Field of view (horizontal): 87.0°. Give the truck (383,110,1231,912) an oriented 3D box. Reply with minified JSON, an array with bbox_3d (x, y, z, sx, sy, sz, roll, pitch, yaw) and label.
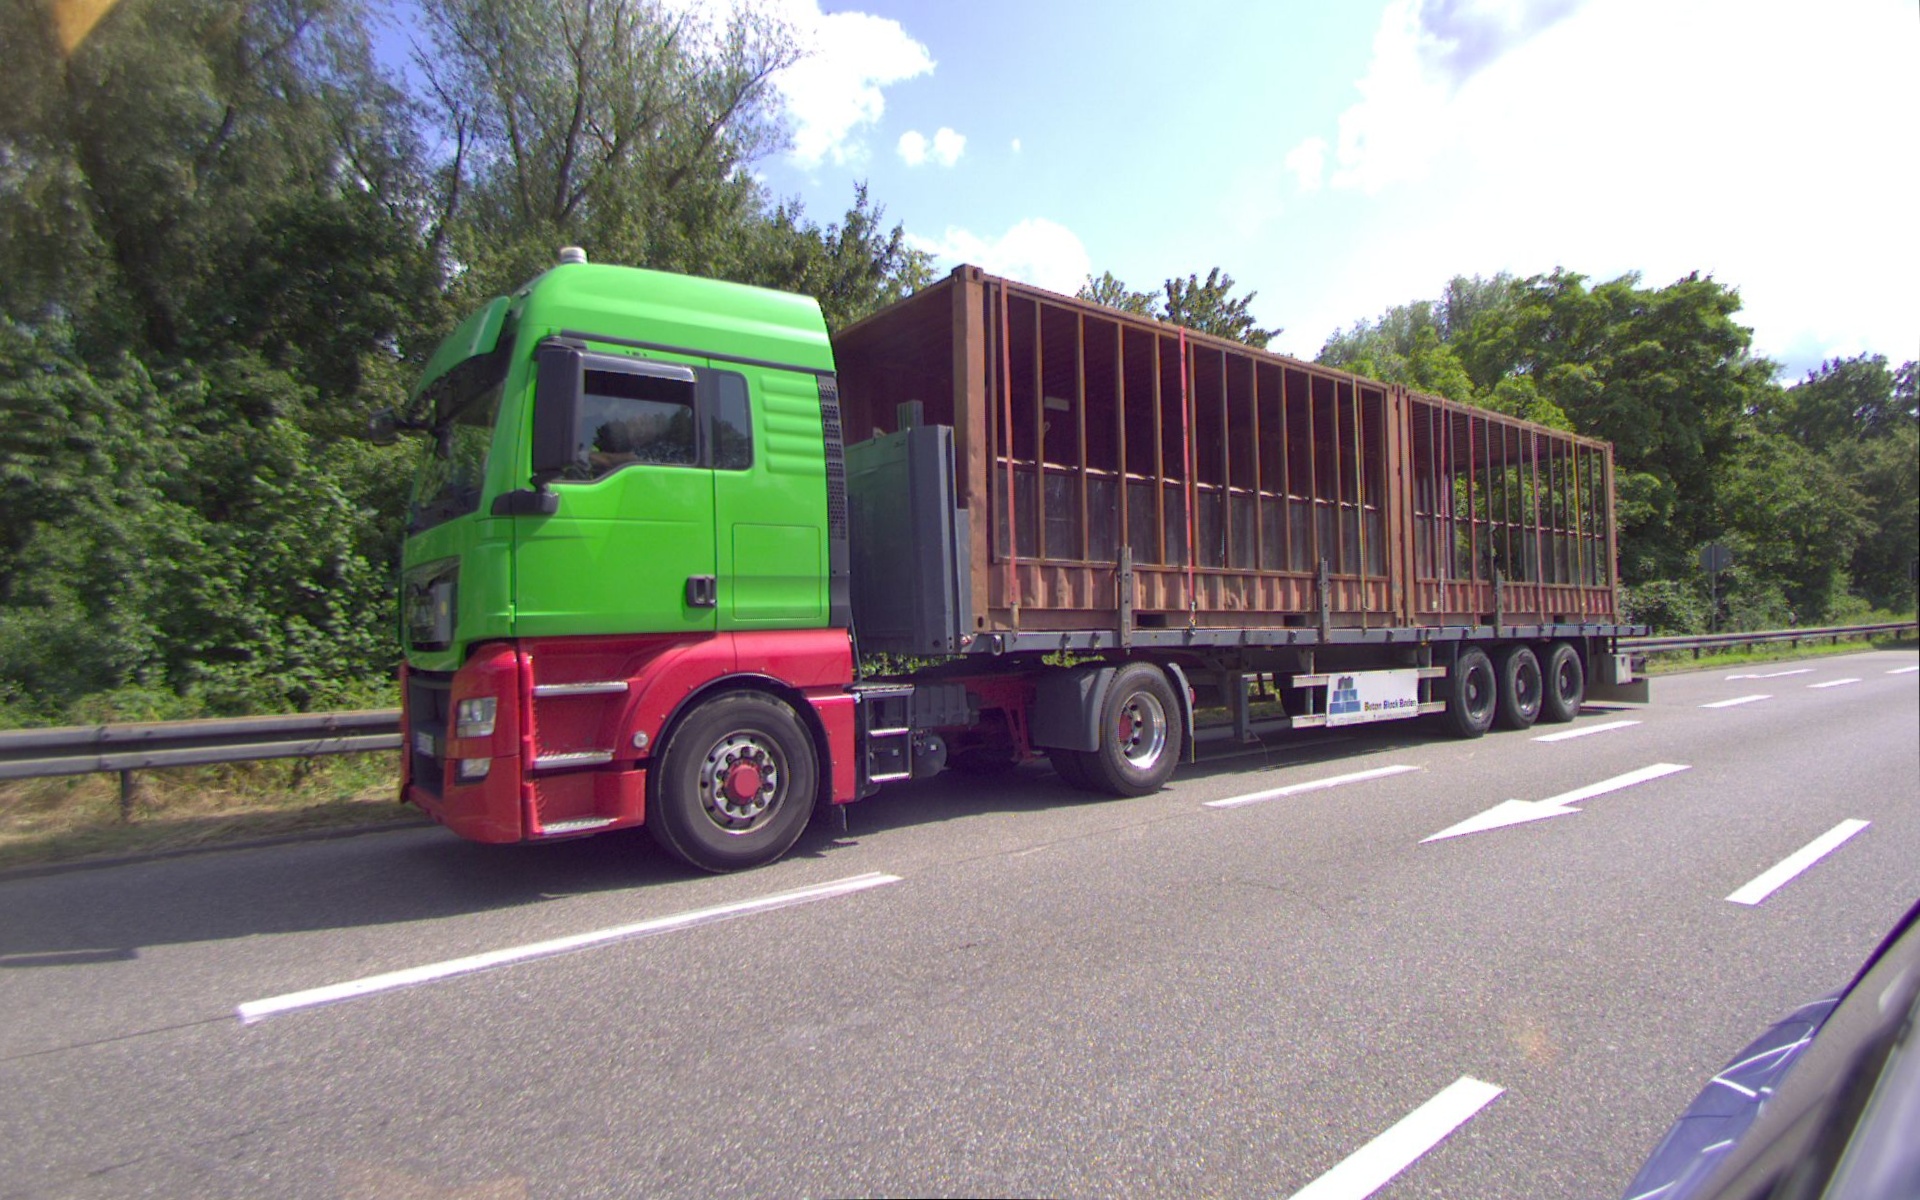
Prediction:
[{"bbox_3d":[-0.872,-0.413,7.825,5.951,3.945,2.590,0,-3,-38],"label":"truck"}]

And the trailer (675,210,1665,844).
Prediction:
[{"bbox_3d":[4.051,-0.420,11.711,14.236,3.944,2.590,0,-3,-38],"label":"trailer"}]
